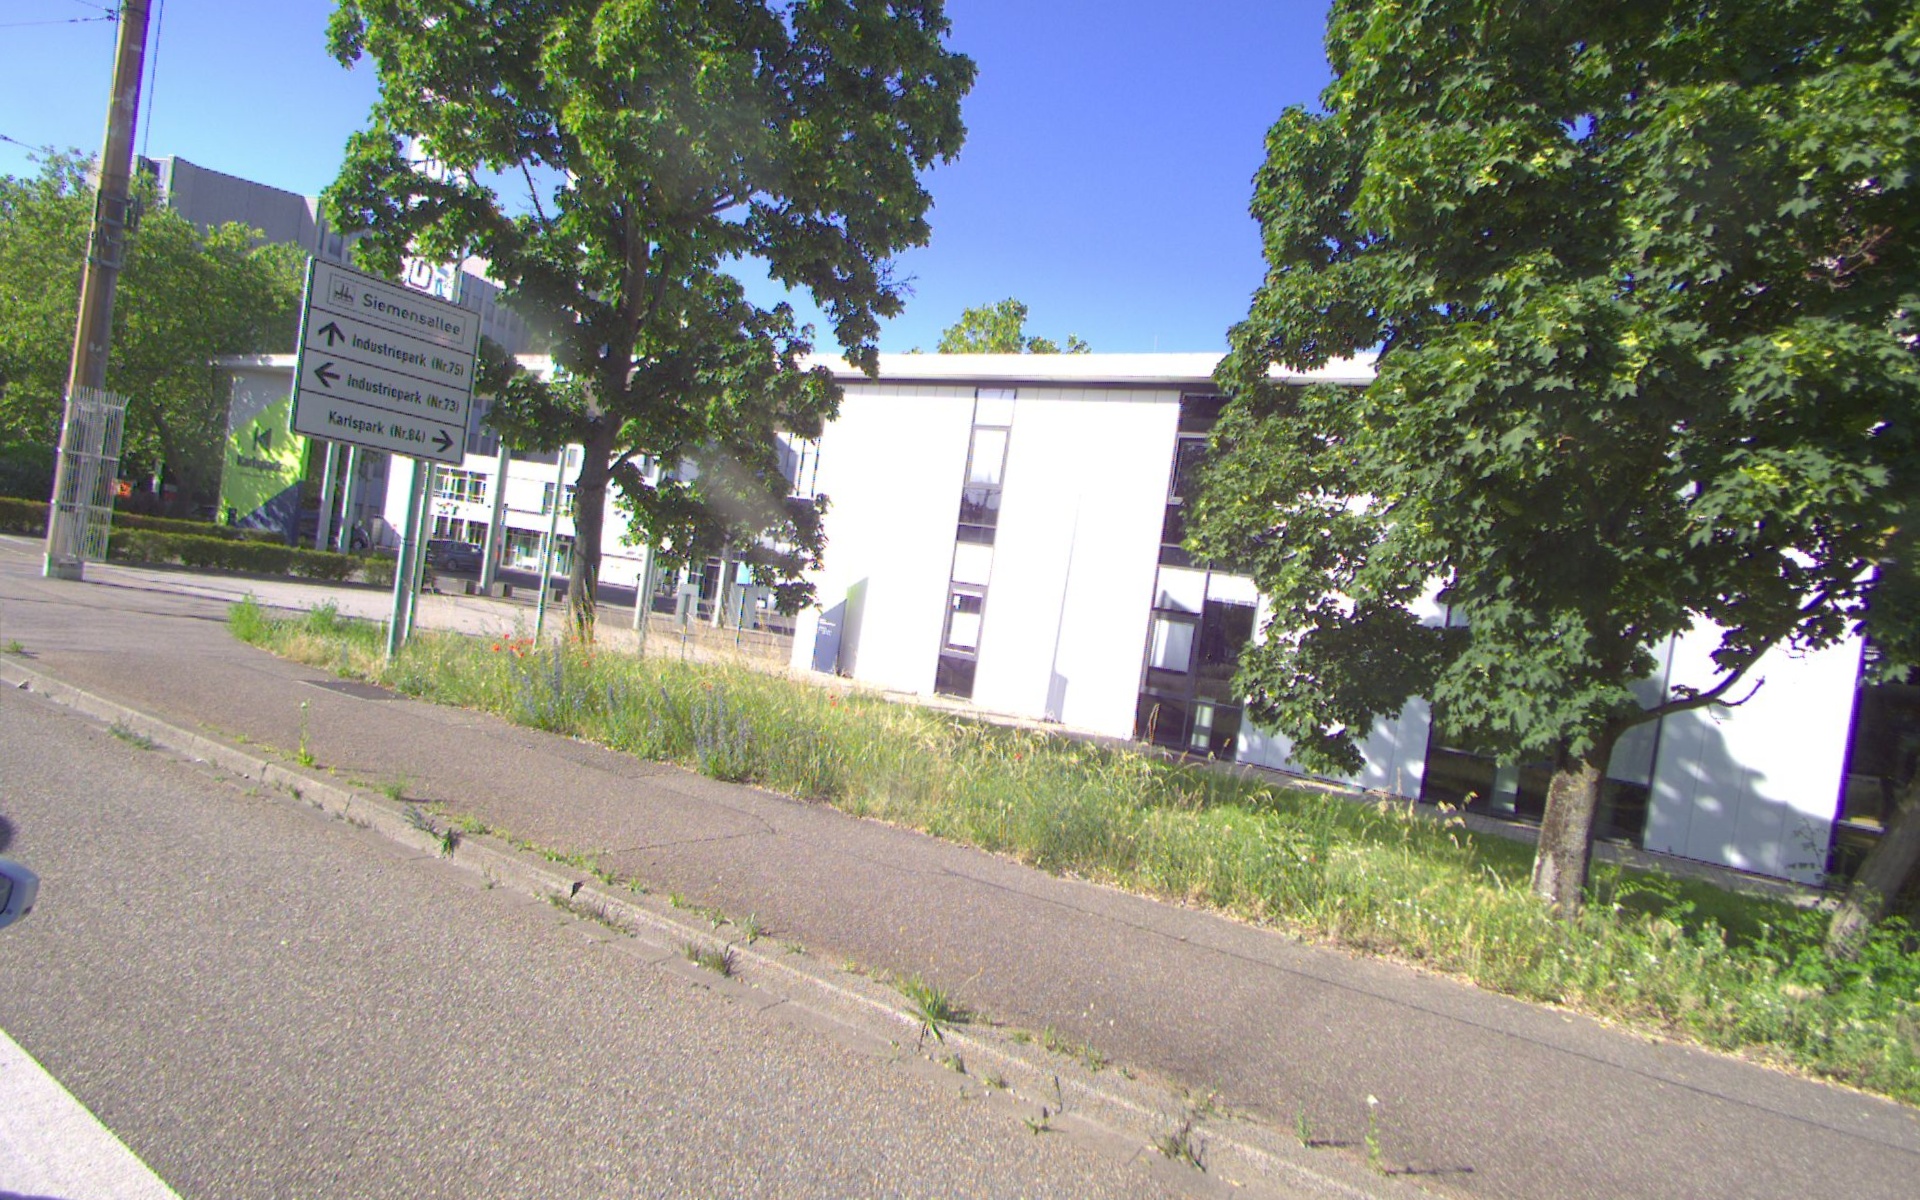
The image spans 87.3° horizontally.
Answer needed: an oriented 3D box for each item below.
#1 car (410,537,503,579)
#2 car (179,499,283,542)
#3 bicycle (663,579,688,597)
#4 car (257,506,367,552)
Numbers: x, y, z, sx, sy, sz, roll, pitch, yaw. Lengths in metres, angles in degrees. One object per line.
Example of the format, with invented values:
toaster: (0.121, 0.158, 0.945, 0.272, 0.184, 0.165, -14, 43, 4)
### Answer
car: (-26.673, -2.205, 53.446, 1.918, 1.597, 4.000, 8, -1, 23)
car: (-42.651, -4.634, 58.962, 1.861, 1.706, 4.468, 8, -1, 26)
bicycle: (-20.256, -0.859, 71.665, 1.591, 1.016, 0.566, 8, 0, 17)
car: (-36.275, -3.948, 56.503, 2.052, 1.778, 4.900, 8, -1, 17)
